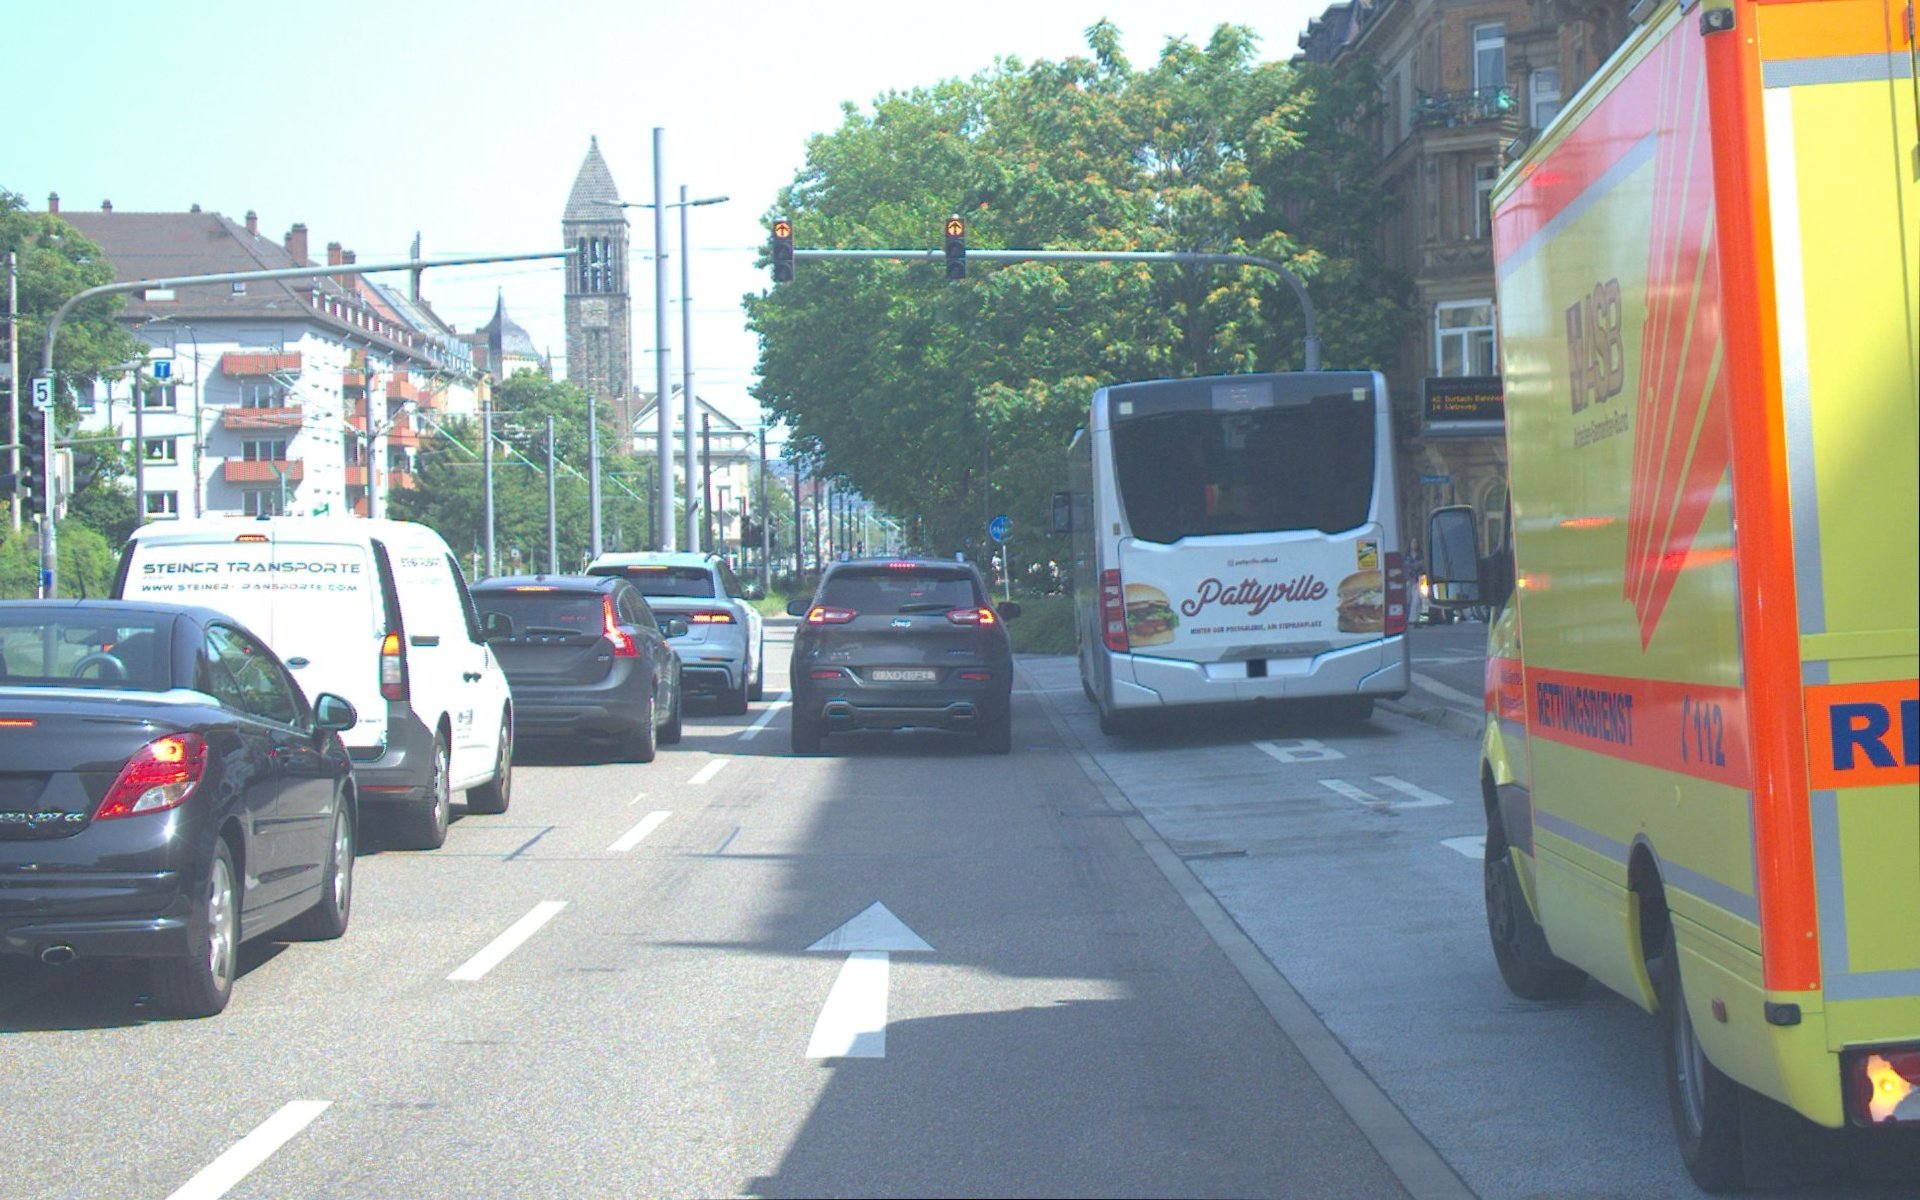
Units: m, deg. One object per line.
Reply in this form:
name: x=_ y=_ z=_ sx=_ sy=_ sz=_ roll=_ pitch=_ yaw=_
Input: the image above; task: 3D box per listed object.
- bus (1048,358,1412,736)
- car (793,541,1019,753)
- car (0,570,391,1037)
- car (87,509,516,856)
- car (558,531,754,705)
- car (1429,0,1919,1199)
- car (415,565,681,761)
bus: x=2.354 y=-0.507 z=34.142 sx=2.534 sy=3.021 sz=12.436 roll=-1 pitch=1 yaw=0
car: x=-0.489 y=0.375 z=29.615 sx=1.790 sy=1.672 sz=4.000 roll=-1 pitch=0 yaw=-2
car: x=-3.298 y=0.634 z=12.810 sx=1.790 sy=1.426 sz=4.000 roll=-1 pitch=1 yaw=-2
car: x=-3.684 y=0.428 z=19.877 sx=1.790 sy=1.774 sz=4.000 roll=-1 pitch=0 yaw=-2
car: x=-3.129 y=0.180 z=36.039 sx=1.790 sy=1.692 sz=4.000 roll=-1 pitch=0 yaw=-2
car: x=2.717 y=-0.172 z=9.241 sx=2.299 sy=2.878 sz=5.599 roll=-2 pitch=1 yaw=3
car: x=-3.302 y=0.478 z=28.223 sx=1.790 sy=1.467 sz=4.000 roll=-1 pitch=0 yaw=-2
